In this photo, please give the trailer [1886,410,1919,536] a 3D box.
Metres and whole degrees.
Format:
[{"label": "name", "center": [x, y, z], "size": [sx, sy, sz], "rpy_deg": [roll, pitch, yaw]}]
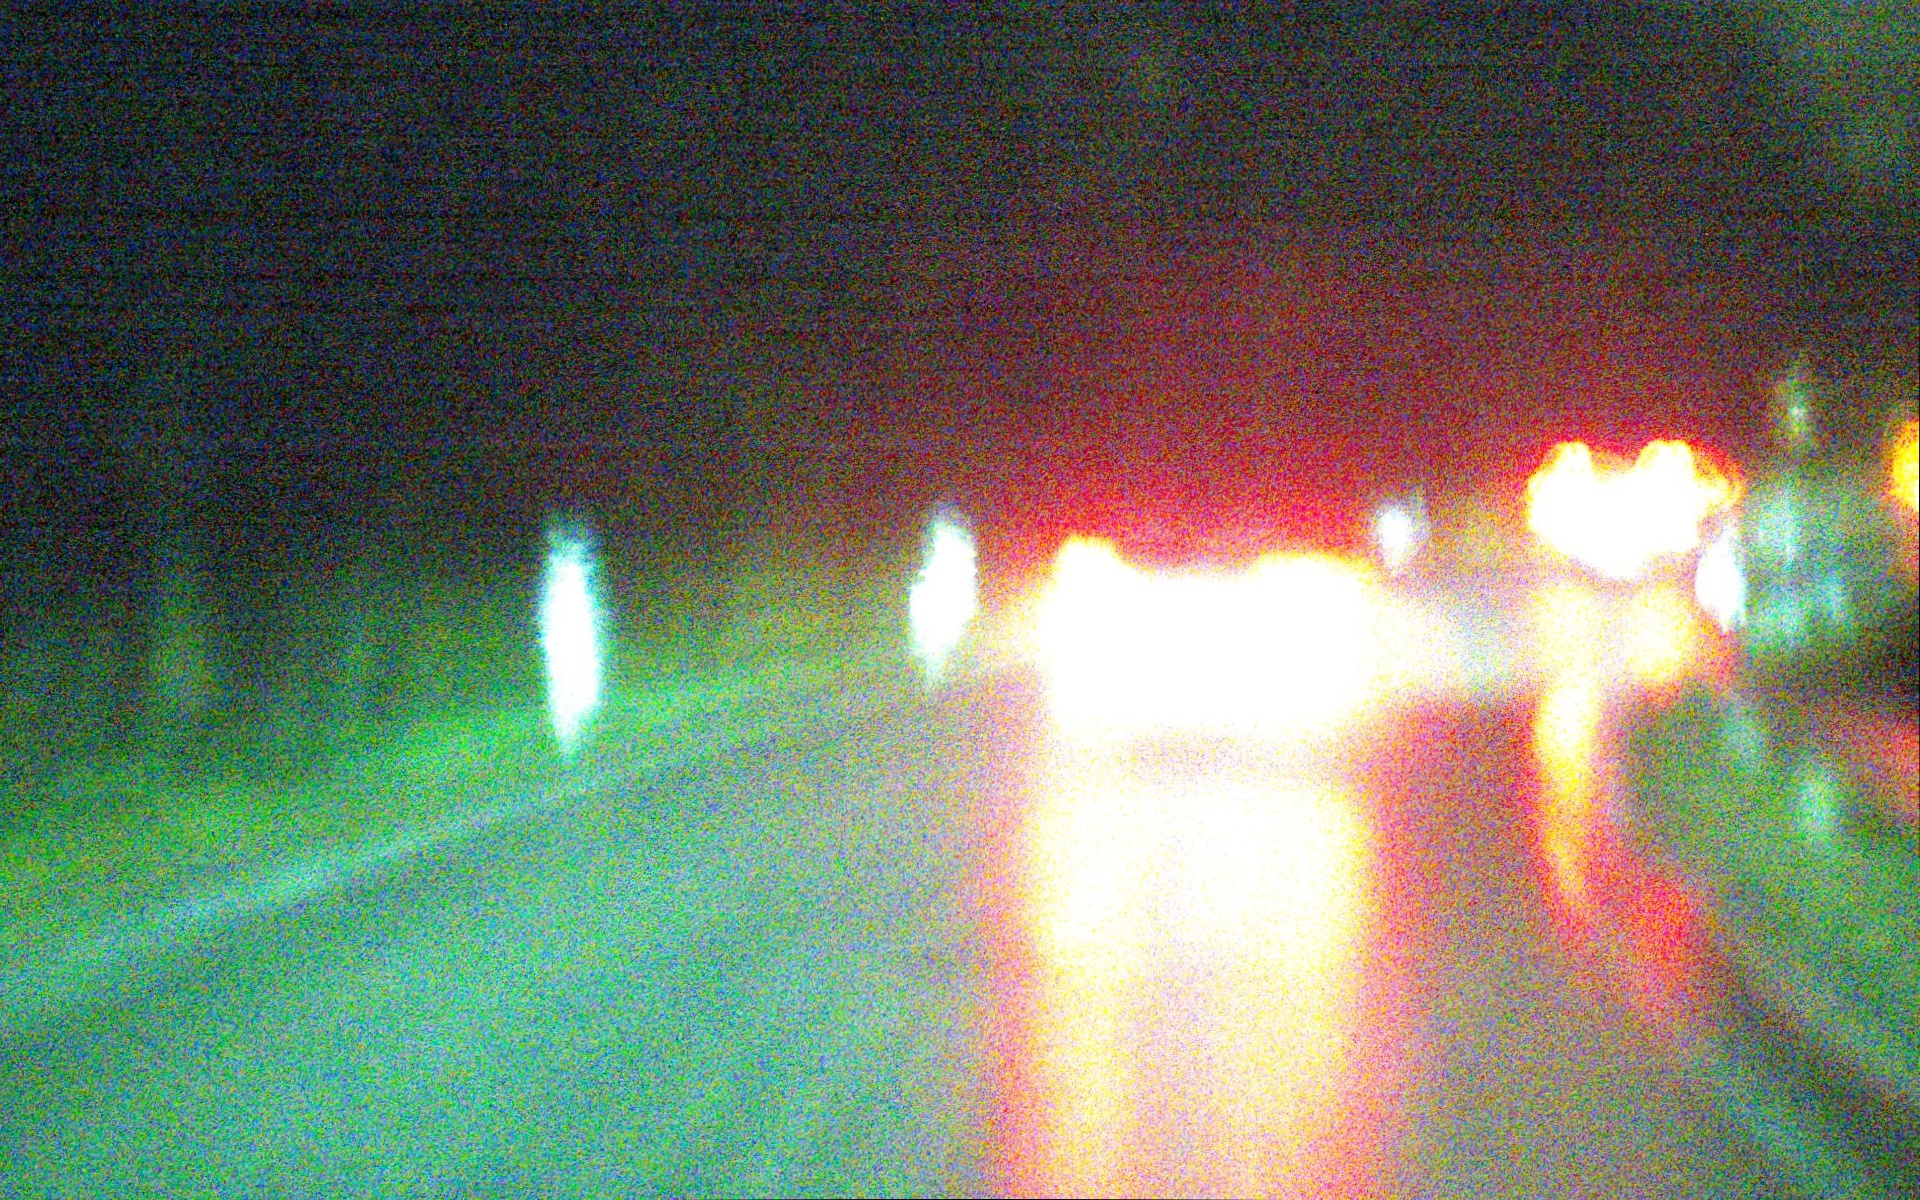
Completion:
[{"label": "trailer", "center": [18.454, -2.254, 62.927], "size": [2.080, 2.007, 10.637], "rpy_deg": [-3, -1, 19]}]
